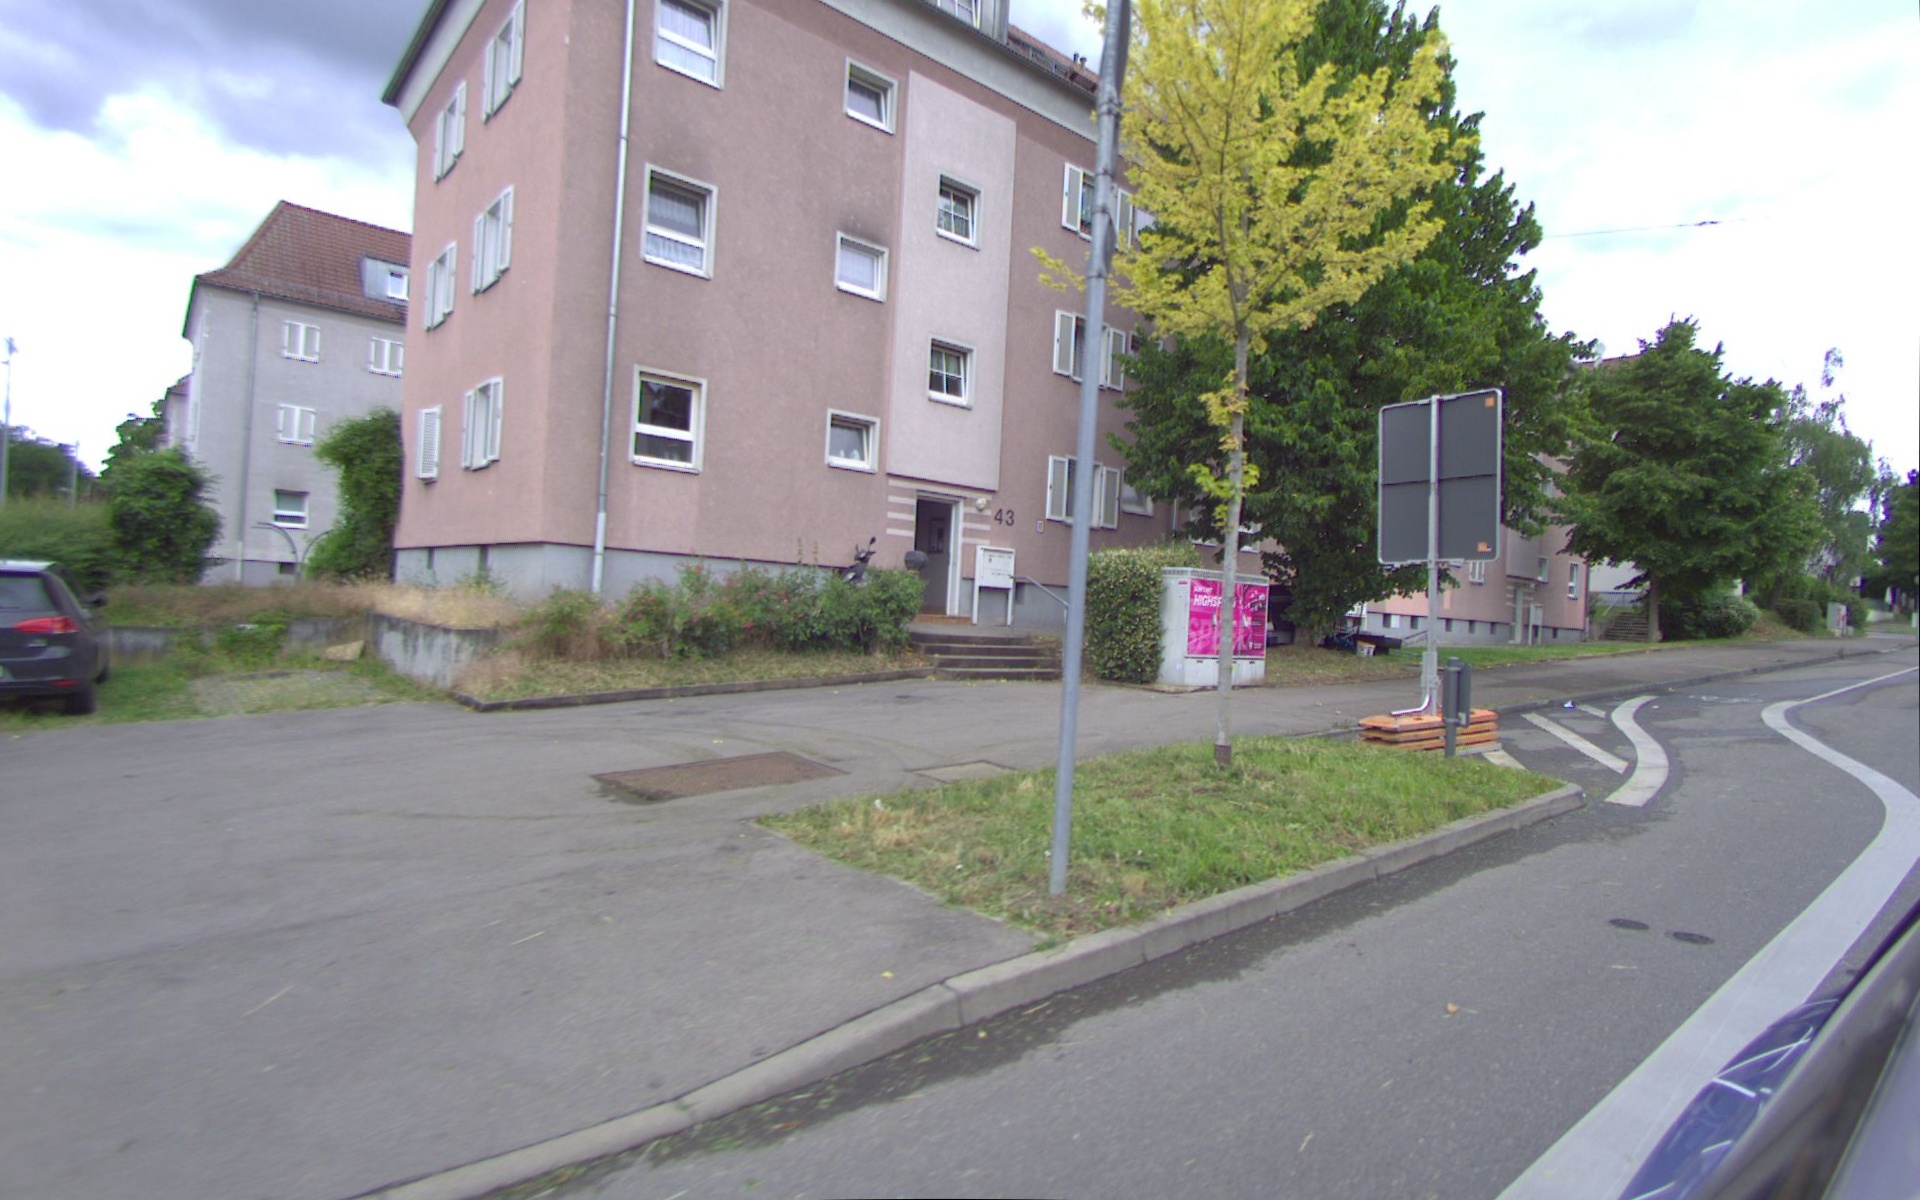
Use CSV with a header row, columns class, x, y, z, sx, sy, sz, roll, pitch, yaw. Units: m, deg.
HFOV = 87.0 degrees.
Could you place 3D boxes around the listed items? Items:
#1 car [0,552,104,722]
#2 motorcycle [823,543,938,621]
class,x,y,z,sx,sy,sz,roll,pitch,yaw
car,-9.743,0.263,10.189,1.659,1.471,3.996,-1,3,-40
motorcycle,-1.309,-0.285,16.930,1.933,1.243,0.591,1,0,-41
